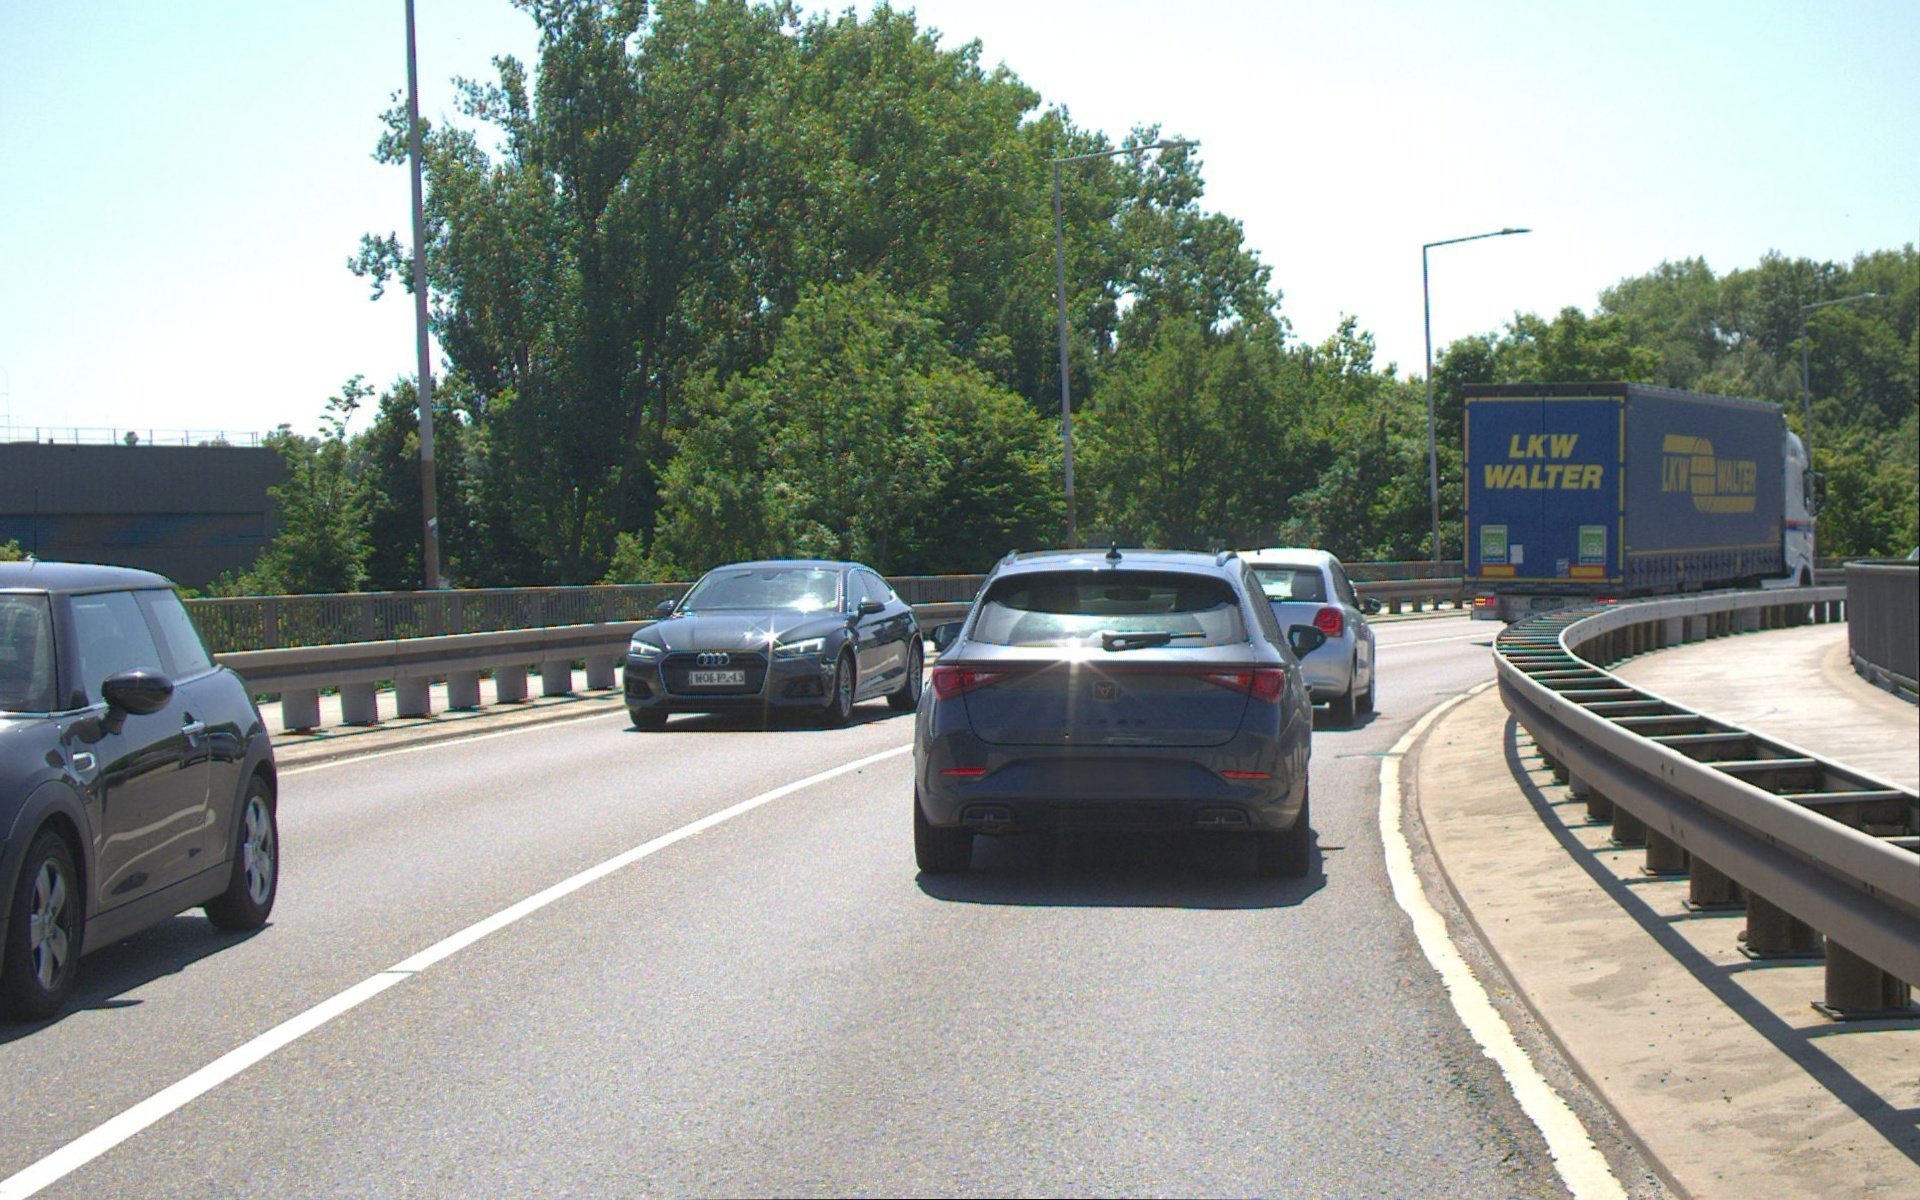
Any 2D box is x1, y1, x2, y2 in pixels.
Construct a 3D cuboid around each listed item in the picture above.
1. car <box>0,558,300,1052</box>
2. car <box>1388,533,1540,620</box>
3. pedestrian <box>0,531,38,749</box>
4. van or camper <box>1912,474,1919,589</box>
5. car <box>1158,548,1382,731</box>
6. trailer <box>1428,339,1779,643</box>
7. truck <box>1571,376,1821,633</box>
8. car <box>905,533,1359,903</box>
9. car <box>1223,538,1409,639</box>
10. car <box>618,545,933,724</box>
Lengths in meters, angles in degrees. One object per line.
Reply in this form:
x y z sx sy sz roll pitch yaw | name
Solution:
-3.586 0.597 11.737 1.789 1.414 3.773 -2 0 2 | car
9.708 -0.451 66.003 1.718 1.609 4.113 0 1 26 | car
-7.171 0.294 24.873 0.714 1.556 0.694 -1 0 9 | pedestrian
24.880 -1.640 82.128 2.207 2.702 5.914 1 2 35 | van or camper
2.730 0.300 29.691 1.594 1.456 3.543 1 1 10 | car
11.225 -1.704 58.544 3.138 4.598 12.932 1 1 23 | trailer
14.059 -1.728 65.175 3.174 4.569 7.387 1 0 24 | truck
0.752 0.445 15.930 1.845 1.493 3.758 0 1 2 | car
5.499 -0.194 52.776 1.727 1.478 3.861 -1 0 24 | car
-1.502 0.266 29.809 1.790 1.410 4.573 -1 0 9 | car
